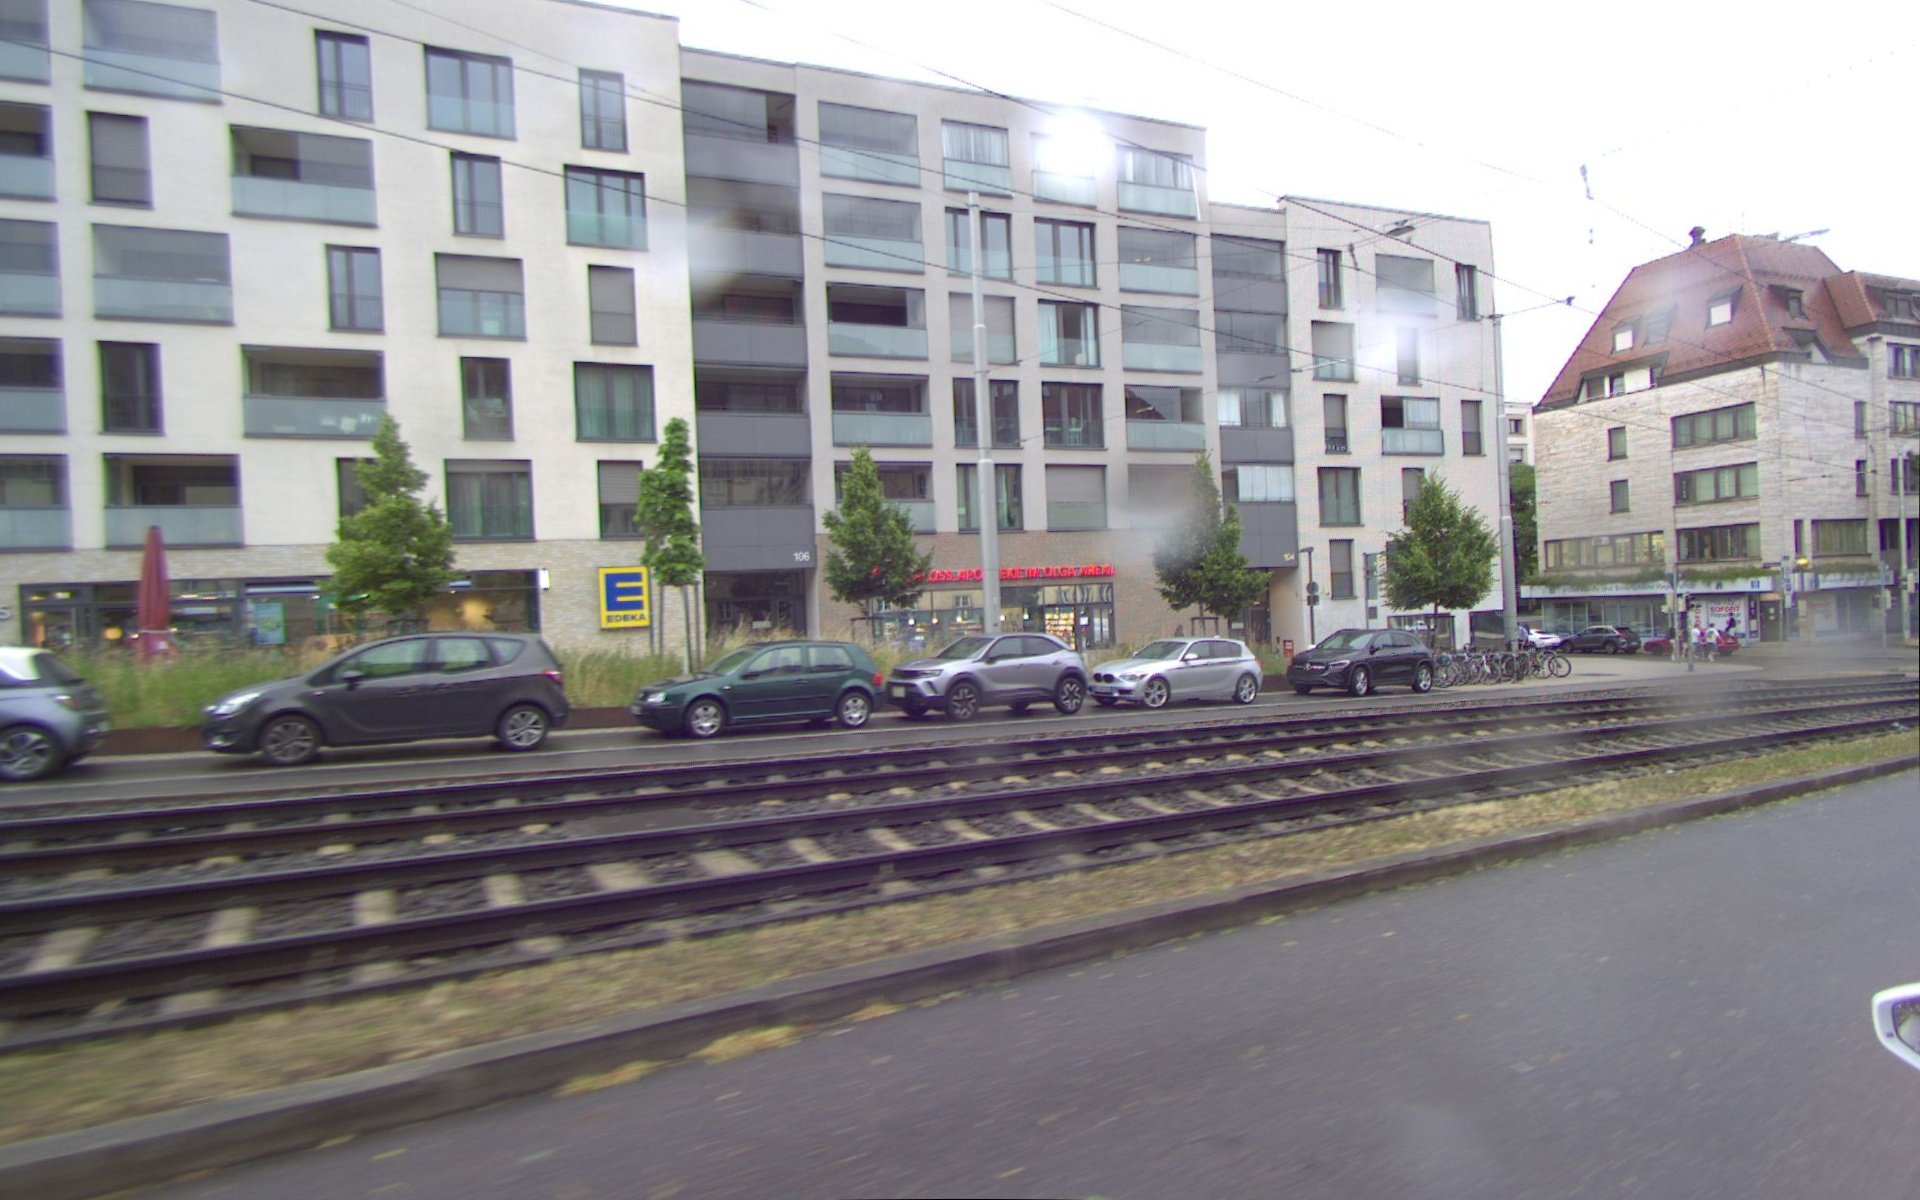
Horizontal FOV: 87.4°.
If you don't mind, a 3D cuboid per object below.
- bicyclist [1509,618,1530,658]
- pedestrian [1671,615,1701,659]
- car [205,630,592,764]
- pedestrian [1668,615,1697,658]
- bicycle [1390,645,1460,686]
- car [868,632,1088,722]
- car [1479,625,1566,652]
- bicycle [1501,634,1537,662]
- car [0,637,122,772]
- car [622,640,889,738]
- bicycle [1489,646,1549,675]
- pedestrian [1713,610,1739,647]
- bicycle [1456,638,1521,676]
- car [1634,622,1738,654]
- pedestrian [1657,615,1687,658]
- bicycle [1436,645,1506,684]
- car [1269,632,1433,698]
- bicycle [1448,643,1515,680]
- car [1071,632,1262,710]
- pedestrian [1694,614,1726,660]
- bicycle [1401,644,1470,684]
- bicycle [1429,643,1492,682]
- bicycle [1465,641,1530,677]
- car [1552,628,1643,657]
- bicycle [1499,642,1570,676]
[{"bbox_3d":[22.635,1.531,40.637,0.693,1.594,0.459,1,-1,-30],"label":"bicyclist"},{"bbox_3d":[33.933,1.731,46.941,0.757,2.040,0.935,0,-1,-35],"label":"pedestrian"},{"bbox_3d":[-7.334,1.179,13.473,4.269,1.533,1.710,1,-1,-32],"label":"car"},{"bbox_3d":[34.866,1.759,48.487,0.757,2.040,0.935,0,-1,-35],"label":"pedestrian"},{"bbox_3d":[13.170,1.845,28.484,0.453,1.078,1.782,0,-1,-38],"label":"bicycle"},{"bbox_3d":[0.382,1.360,18.874,3.883,1.523,1.761,1,-2,-36],"label":"car"},{"bbox_3d":[34.362,2.325,61.460,1.881,1.589,4.450,0,-2,-22],"label":"car"},{"bbox_3d":[22.610,1.932,40.623,1.781,1.078,0.454,0,0,-30],"label":"bicycle"},{"bbox_3d":[-11.573,1.143,11.025,3.412,1.454,1.541,1,-2,-31],"label":"car"},{"bbox_3d":[-3.248,1.354,16.225,3.964,1.380,1.541,1,-2,-32],"label":"car"},{"bbox_3d":[18.309,1.967,32.916,0.565,0.877,1.635,1,-1,-41],"label":"bicycle"},{"bbox_3d":[41.792,1.552,54.799,0.818,1.957,0.898,1,-2,-37],"label":"pedestrian"},{"bbox_3d":[16.684,1.791,31.732,1.775,1.123,0.453,0,-1,39],"label":"bicycle"},{"bbox_3d":[37.916,1.963,52.564,1.797,1.589,4.125,0,-2,-22],"label":"car"},{"bbox_3d":[33.822,1.737,47.727,0.757,2.040,0.935,0,-1,-35],"label":"pedestrian"},{"bbox_3d":[14.905,1.872,29.356,1.778,1.078,0.454,0,-1,45],"label":"bicycle"},{"bbox_3d":[9.915,1.578,25.383,4.195,1.523,1.899,1,-3,-36],"label":"car"},{"bbox_3d":[16.101,1.881,31.052,1.778,1.078,0.454,0,-1,45],"label":"bicycle"},{"bbox_3d":[4.462,1.449,21.508,4.043,1.523,1.761,1,-2,-36],"label":"car"},{"bbox_3d":[34.381,1.691,46.049,0.756,2.040,0.937,0,-1,-32],"label":"pedestrian"},{"bbox_3d":[13.775,1.845,29.132,0.454,1.078,1.780,0,-1,-42],"label":"bicycle"},{"bbox_3d":[15.241,1.885,30.614,0.480,1.086,1.761,0,-1,-28],"label":"bicycle"},{"bbox_3d":[17.488,1.907,32.725,0.565,1.078,1.779,1,-1,-43],"label":"bicycle"},{"bbox_3d":[36.191,2.395,57.133,1.797,1.589,4.125,0,-2,-22],"label":"car"},{"bbox_3d":[19.204,1.966,33.595,0.715,1.041,1.933,0,-1,-40],"label":"bicycle"}]
